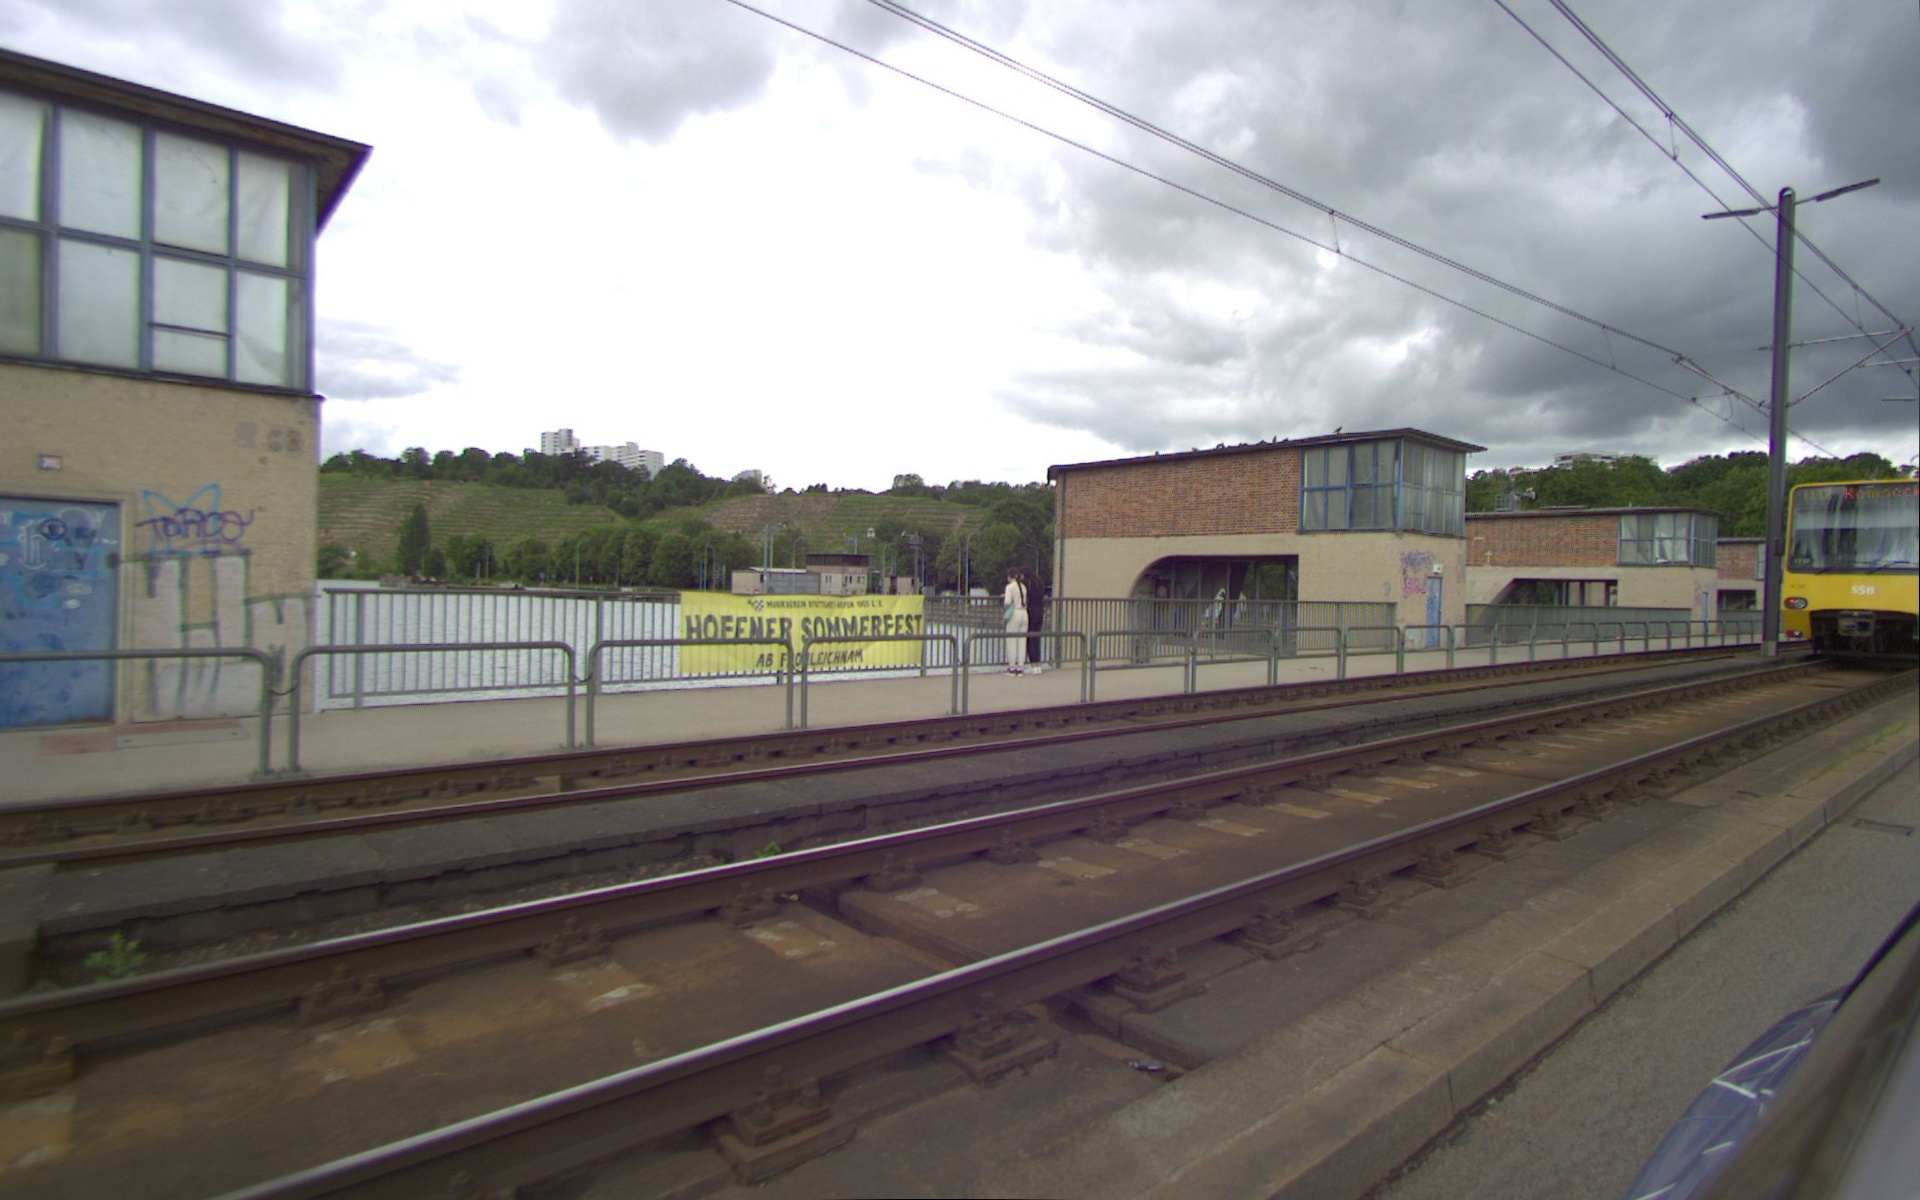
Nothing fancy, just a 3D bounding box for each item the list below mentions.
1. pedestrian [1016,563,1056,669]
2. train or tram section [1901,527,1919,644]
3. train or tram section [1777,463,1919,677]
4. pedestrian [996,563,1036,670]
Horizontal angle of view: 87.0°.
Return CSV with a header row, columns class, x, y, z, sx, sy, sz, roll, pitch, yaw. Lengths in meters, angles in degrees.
class,x,y,z,sx,sy,sz,roll,pitch,yaw
pedestrian,1.212,0.251,16.195,0.450,1.668,0.332,2,2,-22
train or tram section,38.687,-0.378,37.960,19.546,3.700,2.791,0,4,-41
train or tram section,24.037,-0.562,25.062,19.549,3.811,2.798,0,1,-42
pedestrian,0.876,0.256,15.800,0.434,1.647,0.348,2,2,-22
